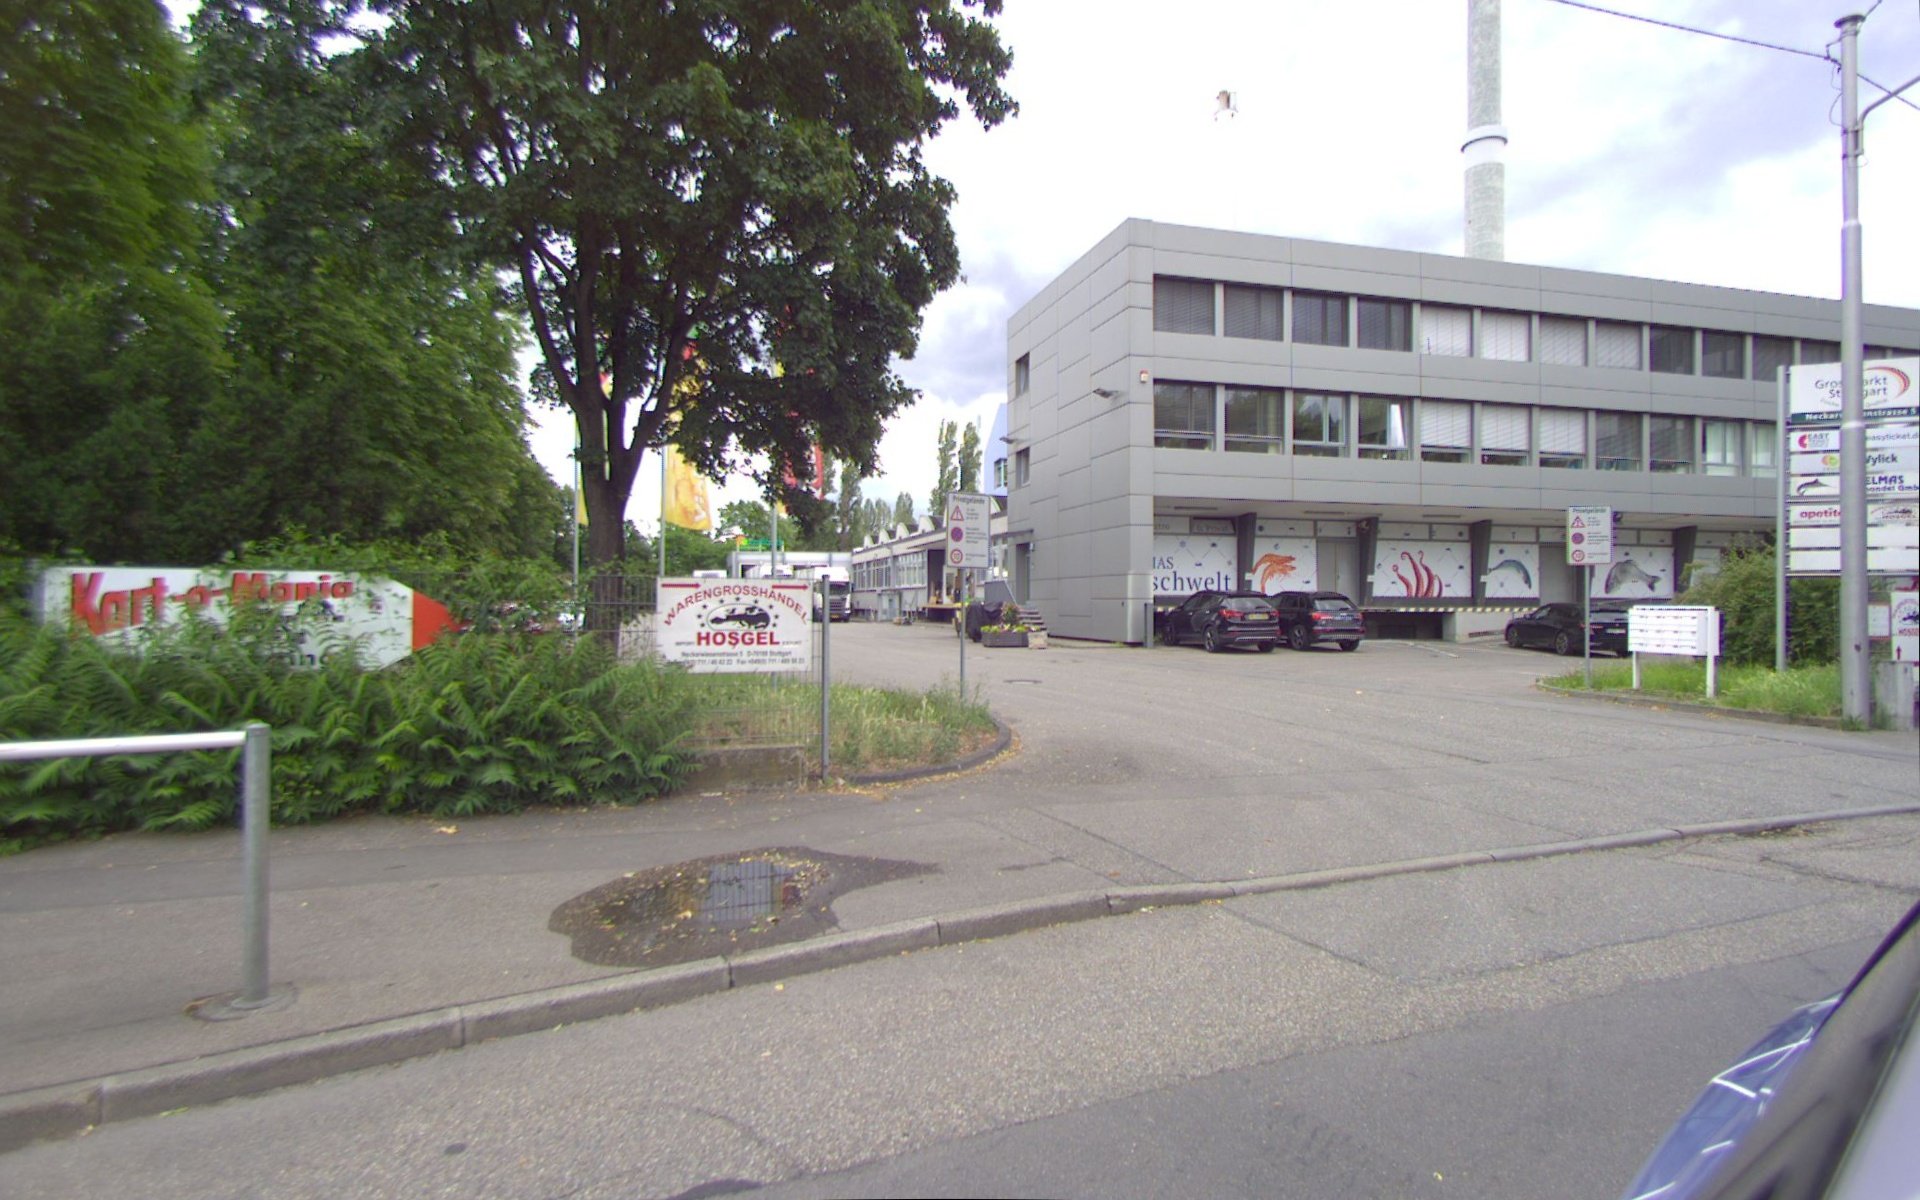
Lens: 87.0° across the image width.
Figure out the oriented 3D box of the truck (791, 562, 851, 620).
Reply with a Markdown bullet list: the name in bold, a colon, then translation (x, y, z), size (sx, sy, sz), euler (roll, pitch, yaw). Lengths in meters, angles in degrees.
- **truck**: translation (-11.027, -0.624, 78.908), size (2.812, 4.076, 15.881), euler (0, 0, -14)

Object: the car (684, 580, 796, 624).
- **car**: translation (-14.306, 0.142, 65.892), size (7.004, 2.767, 2.248), euler (0, -1, -14)

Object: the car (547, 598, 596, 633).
- **car**: translation (-17.829, 0.701, 46.585), size (1.564, 1.532, 3.812), euler (0, 0, -12)

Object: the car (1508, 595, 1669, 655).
- **car**: translation (18.365, 0.663, 29.892), size (2.014, 1.463, 4.825), euler (0, 2, 4)

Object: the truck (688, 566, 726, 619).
- **truck**: translation (-21.443, -0.639, 85.487), size (2.936, 4.218, 9.207), euler (0, 0, -15)

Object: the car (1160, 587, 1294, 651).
- **car**: translation (7.494, 0.475, 28.881), size (1.800, 1.638, 4.474), euler (0, 1, -13)

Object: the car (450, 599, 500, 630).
- **car**: translation (-23.945, 0.683, 50.054), size (1.564, 1.459, 3.667), euler (0, 0, -15)

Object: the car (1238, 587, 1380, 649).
- **car**: translation (10.097, 0.463, 29.693), size (1.800, 1.638, 4.433), euler (0, 1, -14)

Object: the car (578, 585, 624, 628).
- **car**: translation (-22.536, 0.392, 63.740), size (2.262, 2.511, 6.940), euler (0, 0, -15)

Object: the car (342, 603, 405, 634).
- **car**: translation (-25.463, 0.789, 44.040), size (1.384, 1.284, 3.323), euler (0, 0, -12)

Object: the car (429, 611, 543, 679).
- **car**: translation (-9.826, 0.882, 21.235), size (1.673, 1.264, 3.709), euler (0, 0, -17)

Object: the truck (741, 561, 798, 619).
- **truck**: translation (-14.853, -0.680, 77.908), size (2.792, 3.983, 15.760), euler (0, 0, -16)

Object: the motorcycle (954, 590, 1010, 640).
- **motorcycle**: translation (0.810, 0.514, 35.700), size (1.181, 1.676, 2.876), euler (0, 0, 19)

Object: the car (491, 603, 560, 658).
- **car**: translation (-13.390, 0.902, 31.332), size (1.602, 1.586, 3.569), euler (0, 0, -17)
